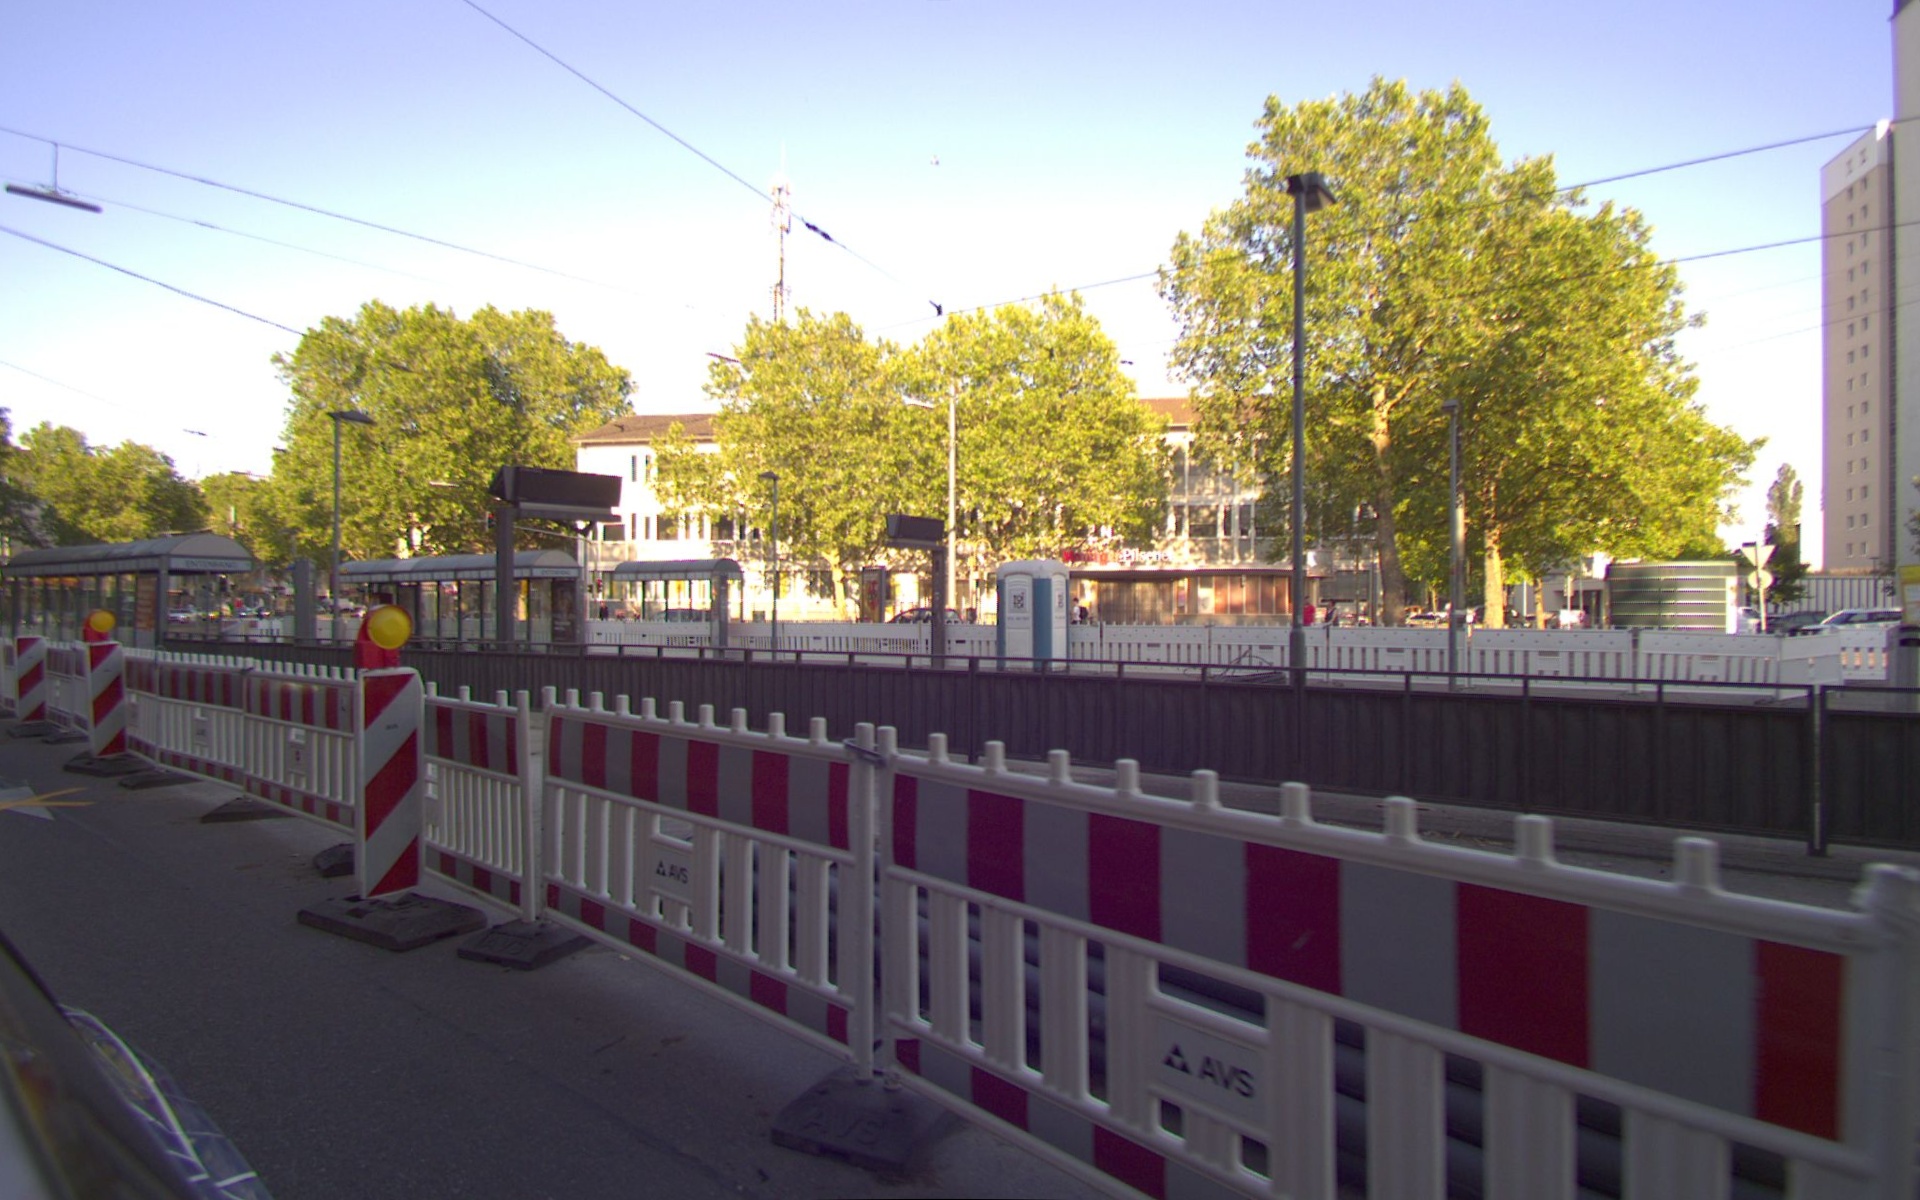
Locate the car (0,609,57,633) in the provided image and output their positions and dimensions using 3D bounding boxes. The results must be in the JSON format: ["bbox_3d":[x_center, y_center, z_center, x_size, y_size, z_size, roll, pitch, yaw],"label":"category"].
[{"bbox_3d":[-66.569,1.471,71.733,1.966,1.608,4.574,0,-1,-16],"label":"car"}]

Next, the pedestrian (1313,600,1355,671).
[{"bbox_3d":[10.884,1.012,29.480,0.883,2.029,0.875,-1,-1,41],"label":"pedestrian"}]

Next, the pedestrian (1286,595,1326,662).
[{"bbox_3d":[10.631,0.858,31.072,0.883,2.029,0.875,-1,-1,41],"label":"pedestrian"}]

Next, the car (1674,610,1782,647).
[{"bbox_3d":[43.581,1.613,57.534,4.395,2.029,1.994,0,-1,10],"label":"car"}]

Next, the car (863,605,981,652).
[{"bbox_3d":[-1.379,0.970,35.983,3.963,1.578,1.789,-1,-1,37],"label":"car"}]

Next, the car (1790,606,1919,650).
[{"bbox_3d":[42.217,1.291,47.330,4.859,2.029,1.994,0,-1,10],"label":"car"}]

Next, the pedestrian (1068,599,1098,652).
[{"bbox_3d":[4.777,0.980,39.217,0.884,2.029,0.874,-1,-1,30],"label":"pedestrian"}]

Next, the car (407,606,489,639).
[{"bbox_3d":[-24.934,1.081,49.297,3.361,1.586,1.674,-1,-1,16],"label":"car"}]

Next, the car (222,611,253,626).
[{"bbox_3d":[-78.555,2.030,110.076,1.677,1.599,3.718,0,0,-17],"label":"car"}]
